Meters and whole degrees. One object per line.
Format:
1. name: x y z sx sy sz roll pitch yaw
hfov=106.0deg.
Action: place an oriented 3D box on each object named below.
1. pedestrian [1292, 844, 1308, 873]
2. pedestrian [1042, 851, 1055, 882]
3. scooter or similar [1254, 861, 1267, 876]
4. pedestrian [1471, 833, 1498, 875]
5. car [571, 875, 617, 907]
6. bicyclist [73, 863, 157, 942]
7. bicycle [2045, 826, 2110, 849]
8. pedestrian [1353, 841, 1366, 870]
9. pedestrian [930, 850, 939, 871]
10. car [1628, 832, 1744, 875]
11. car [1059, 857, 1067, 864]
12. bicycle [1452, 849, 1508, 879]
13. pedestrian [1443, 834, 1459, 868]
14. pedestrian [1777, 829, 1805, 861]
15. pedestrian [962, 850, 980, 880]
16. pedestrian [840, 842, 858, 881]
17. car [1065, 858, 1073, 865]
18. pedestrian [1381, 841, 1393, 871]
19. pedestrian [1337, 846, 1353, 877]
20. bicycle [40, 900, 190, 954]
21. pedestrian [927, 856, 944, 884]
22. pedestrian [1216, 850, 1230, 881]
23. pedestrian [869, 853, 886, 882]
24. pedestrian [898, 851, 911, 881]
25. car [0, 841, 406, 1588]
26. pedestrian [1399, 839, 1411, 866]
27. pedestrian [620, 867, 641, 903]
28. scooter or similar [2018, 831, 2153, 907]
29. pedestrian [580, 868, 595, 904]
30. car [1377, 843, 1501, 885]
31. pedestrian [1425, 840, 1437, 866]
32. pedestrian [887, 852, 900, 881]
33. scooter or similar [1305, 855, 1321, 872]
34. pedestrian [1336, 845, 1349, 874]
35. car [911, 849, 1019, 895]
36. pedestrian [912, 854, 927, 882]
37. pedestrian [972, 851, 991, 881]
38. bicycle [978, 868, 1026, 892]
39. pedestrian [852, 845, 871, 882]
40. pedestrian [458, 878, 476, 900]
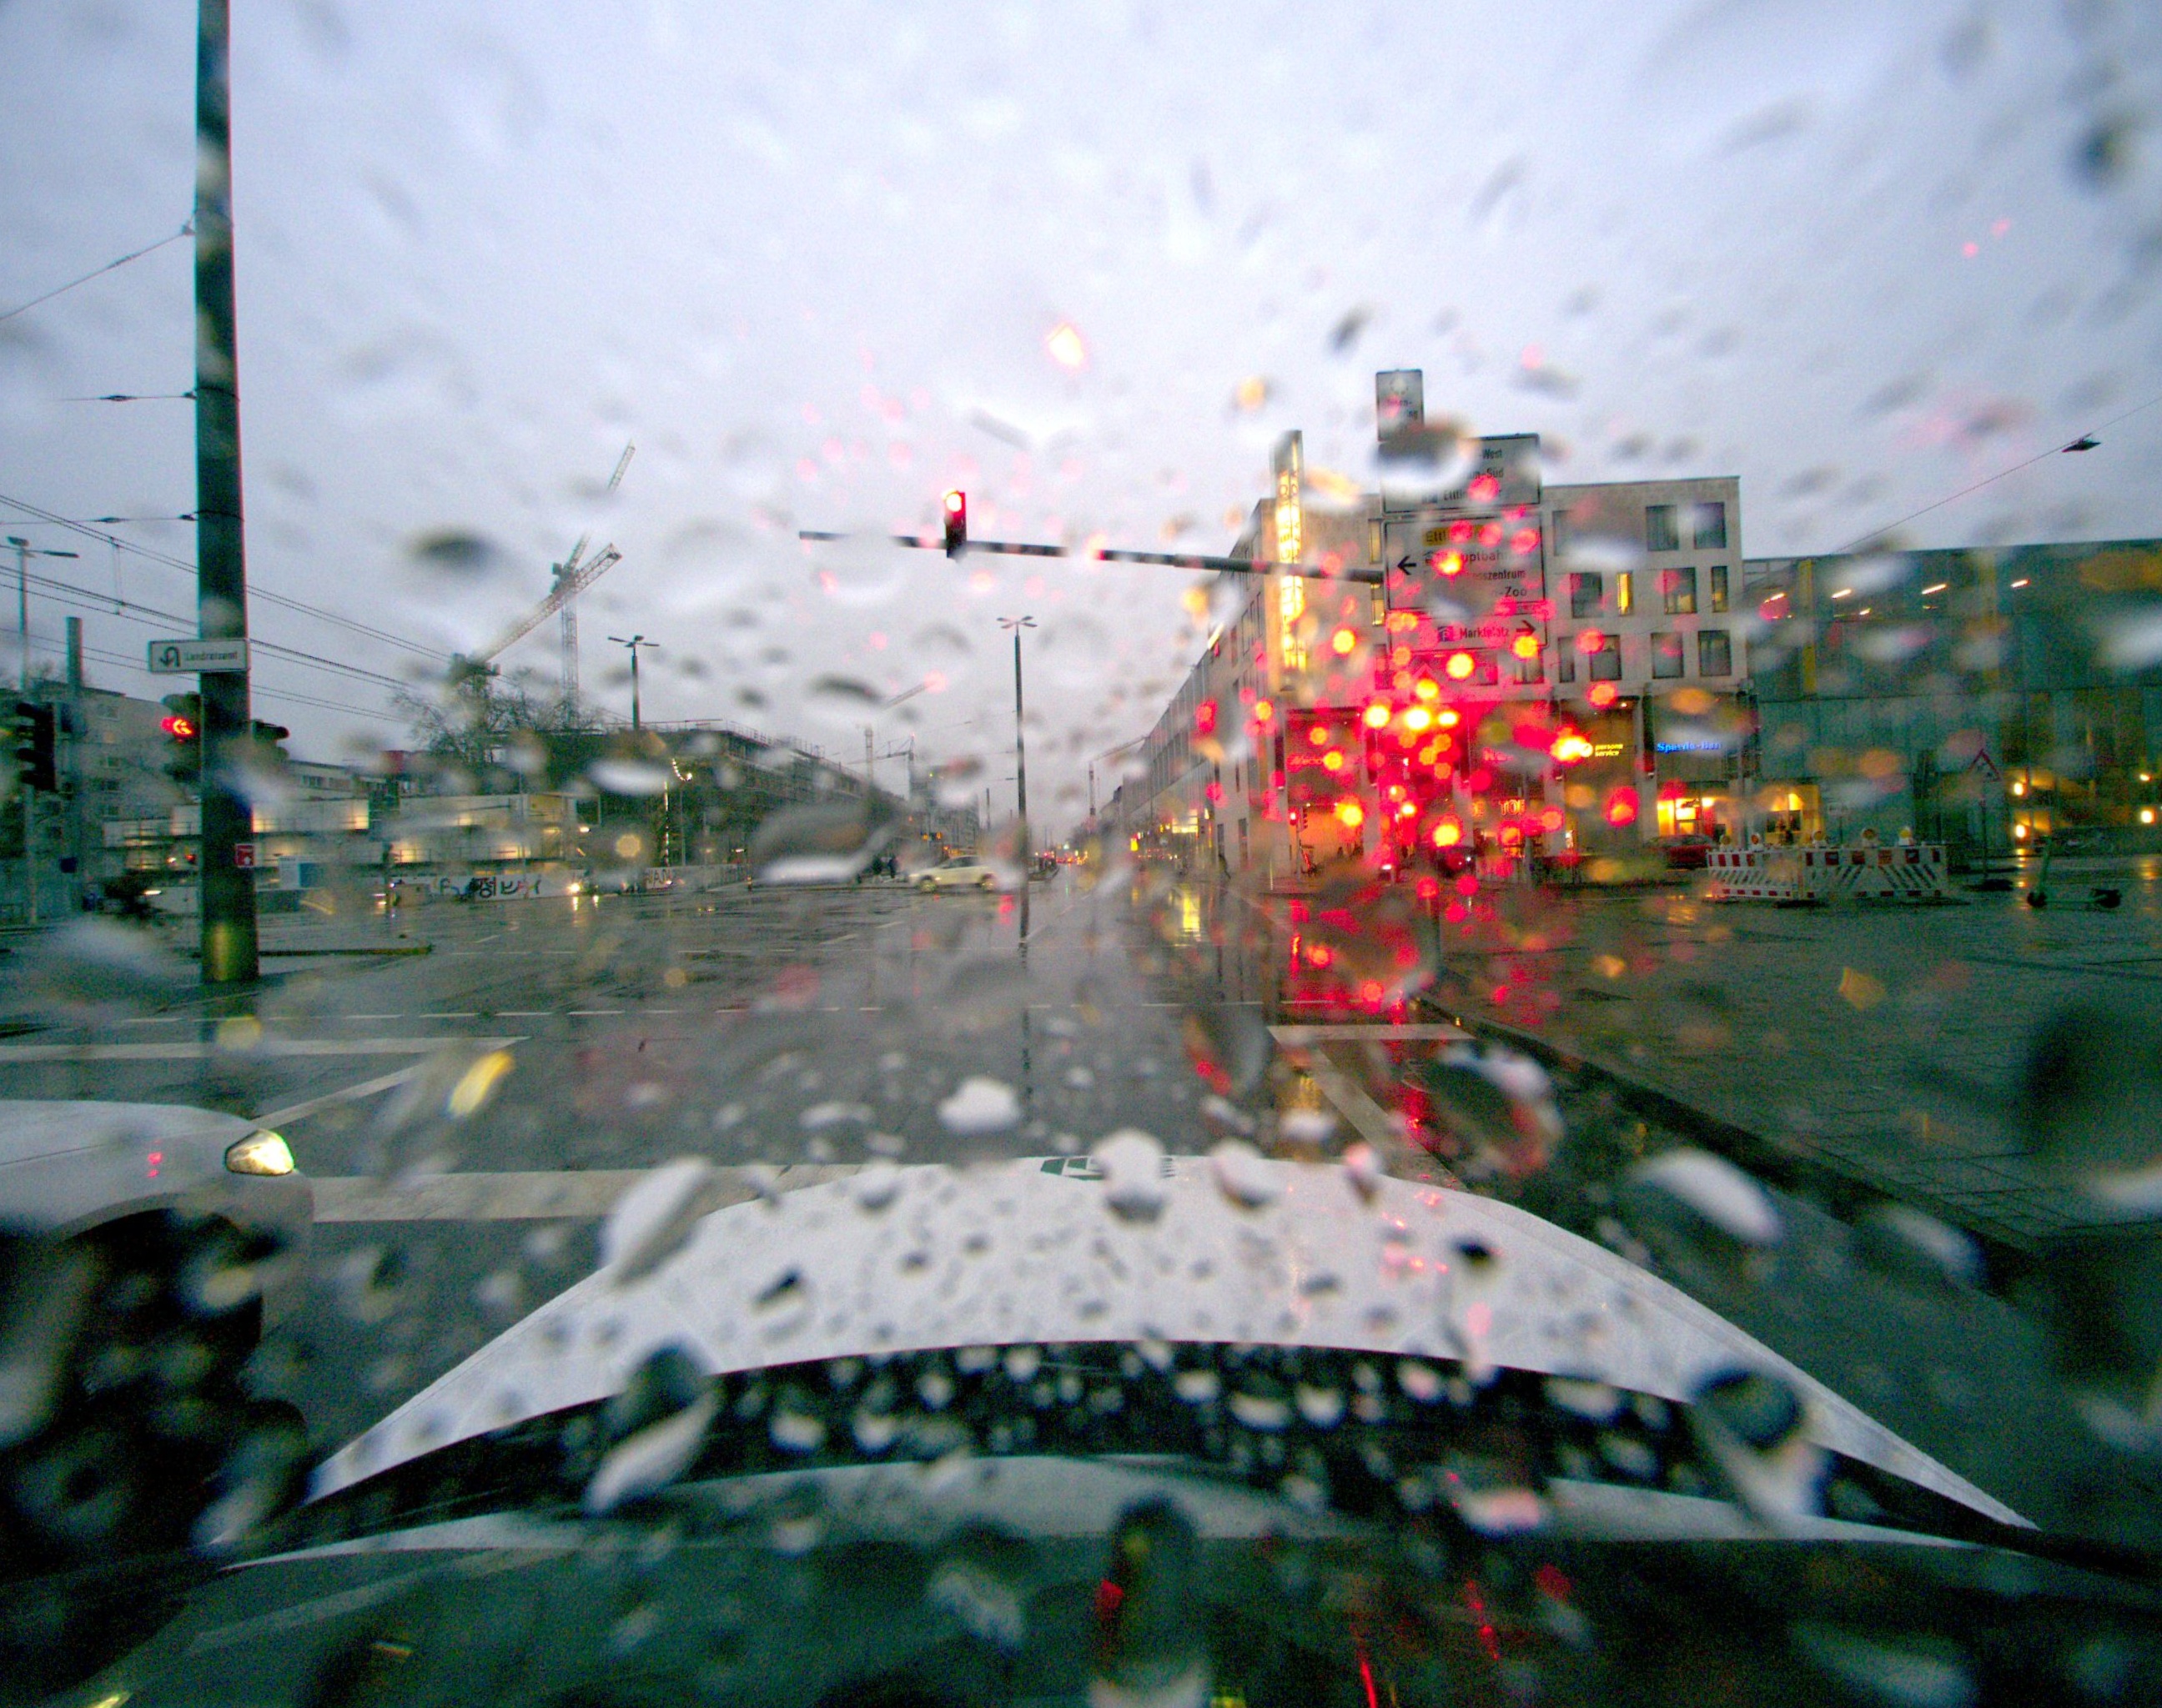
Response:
1. pedestrian: 12.749 0.253 47.423 0.738 1.667 0.400 -2 -1 2
2. pedestrian: -1.903 0.748 47.654 0.700 1.760 0.652 -2 -1 1
3. scooter or similar: 11.262 0.917 51.151 0.738 0.916 0.401 -2 -1 3
4. pedestrian: 15.527 0.007 31.358 0.775 1.595 0.616 -2 -1 17
5. car: -33.538 2.505 56.208 1.760 2.013 3.977 -2 0 -17
6. bicyclist: -21.499 1.061 18.134 1.031 1.697 0.616 -2 -1 -5
7. bicycle: 48.599 -0.788 39.758 0.613 1.033 2.138 -2 0 3
8. pedestrian: 17.071 0.078 49.887 0.530 1.718 0.505 -3 -1 39
9. pedestrian: -12.089 0.532 67.397 0.660 1.746 0.733 -2 -1 -9
10. car: 25.045 -0.015 33.796 3.558 1.582 1.676 -2 -1 -1
11. car: -4.780 1.710 218.423 1.881 1.783 3.715 -1 -1 2
12. bicycle: 15.364 0.391 31.431 1.831 1.093 0.620 -2 -1 16
13. pedestrian: 18.662 -0.134 41.084 0.530 1.685 0.552 -3 -1 39
14. pedestrian: 36.052 -0.455 41.365 0.791 1.631 0.709 -1 -1 1
15. pedestrian: -6.309 0.647 46.652 0.826 1.679 0.621 -2 -1 8
16. pedestrian: -12.585 0.432 44.221 0.691 2.087 0.606 -2 -1 -39
17. car: -3.091 1.887 204.375 1.881 1.783 3.715 -1 -1 2
18. pedestrian: 18.438 0.133 49.029 0.510 1.760 0.374 -2 -1 1
19. pedestrian: 15.737 0.445 48.561 0.700 1.760 0.668 -2 -1 1
20. bicycle: -21.452 1.612 18.124 2.369 1.033 0.616 -2 -1 -6
21. pedestrian: -8.483 0.927 47.458 0.806 1.607 0.746 -2 -1 1
22. pedestrian: 8.149 0.664 46.704 0.631 1.772 0.484 -2 -1 0
23. pedestrian: -11.645 0.766 46.591 0.704 1.619 0.680 -2 -1 0
24. pedestrian: -10.486 0.732 48.333 0.617 1.746 0.612 -2 -1 -4
25. car: -3.192 0.762 0.176 1.903 1.520 4.923 -2 0 0
26. pedestrian: 20.832 -0.091 52.407 0.530 1.718 0.505 -3 -1 39
27. pedestrian: -26.163 1.782 47.320 0.792 2.013 0.745 -2 -1 -9
28. scooter or similar: 15.878 0.232 12.914 0.603 1.130 1.236 -2 0 2
29. pedestrian: -28.262 1.848 46.628 0.507 2.014 0.638 -2 -1 -9
30. car: 15.111 0.414 34.612 4.508 1.574 1.802 -2 0 10
31. pedestrian: 23.790 -0.080 55.349 0.530 1.718 0.505 -3 -1 39
32. pedestrian: -11.412 0.761 49.653 0.617 1.746 0.612 -2 -1 -4
33. scooter or similar: 13.502 0.559 47.407 0.738 0.993 0.400 -2 -1 2
34. pedestrian: 16.030 0.339 49.949 0.530 1.718 0.505 -3 -1 39
35. car: -4.945 0.739 34.961 4.287 1.761 1.707 -2 0 1
36. pedestrian: -9.400 0.817 47.480 0.704 1.619 0.613 -2 -1 -1
37. pedestrian: -5.775 0.674 47.287 0.837 1.688 0.679 -2 -1 11
38. bicycle: -3.736 1.233 38.358 2.116 0.991 0.543 -3 -1 7
39. pedestrian: -12.131 0.508 44.945 0.781 2.013 0.606 -2 -1 -37
40. pedestrian: -42.491 2.425 56.377 0.638 1.529 0.801 -3 -1 37
